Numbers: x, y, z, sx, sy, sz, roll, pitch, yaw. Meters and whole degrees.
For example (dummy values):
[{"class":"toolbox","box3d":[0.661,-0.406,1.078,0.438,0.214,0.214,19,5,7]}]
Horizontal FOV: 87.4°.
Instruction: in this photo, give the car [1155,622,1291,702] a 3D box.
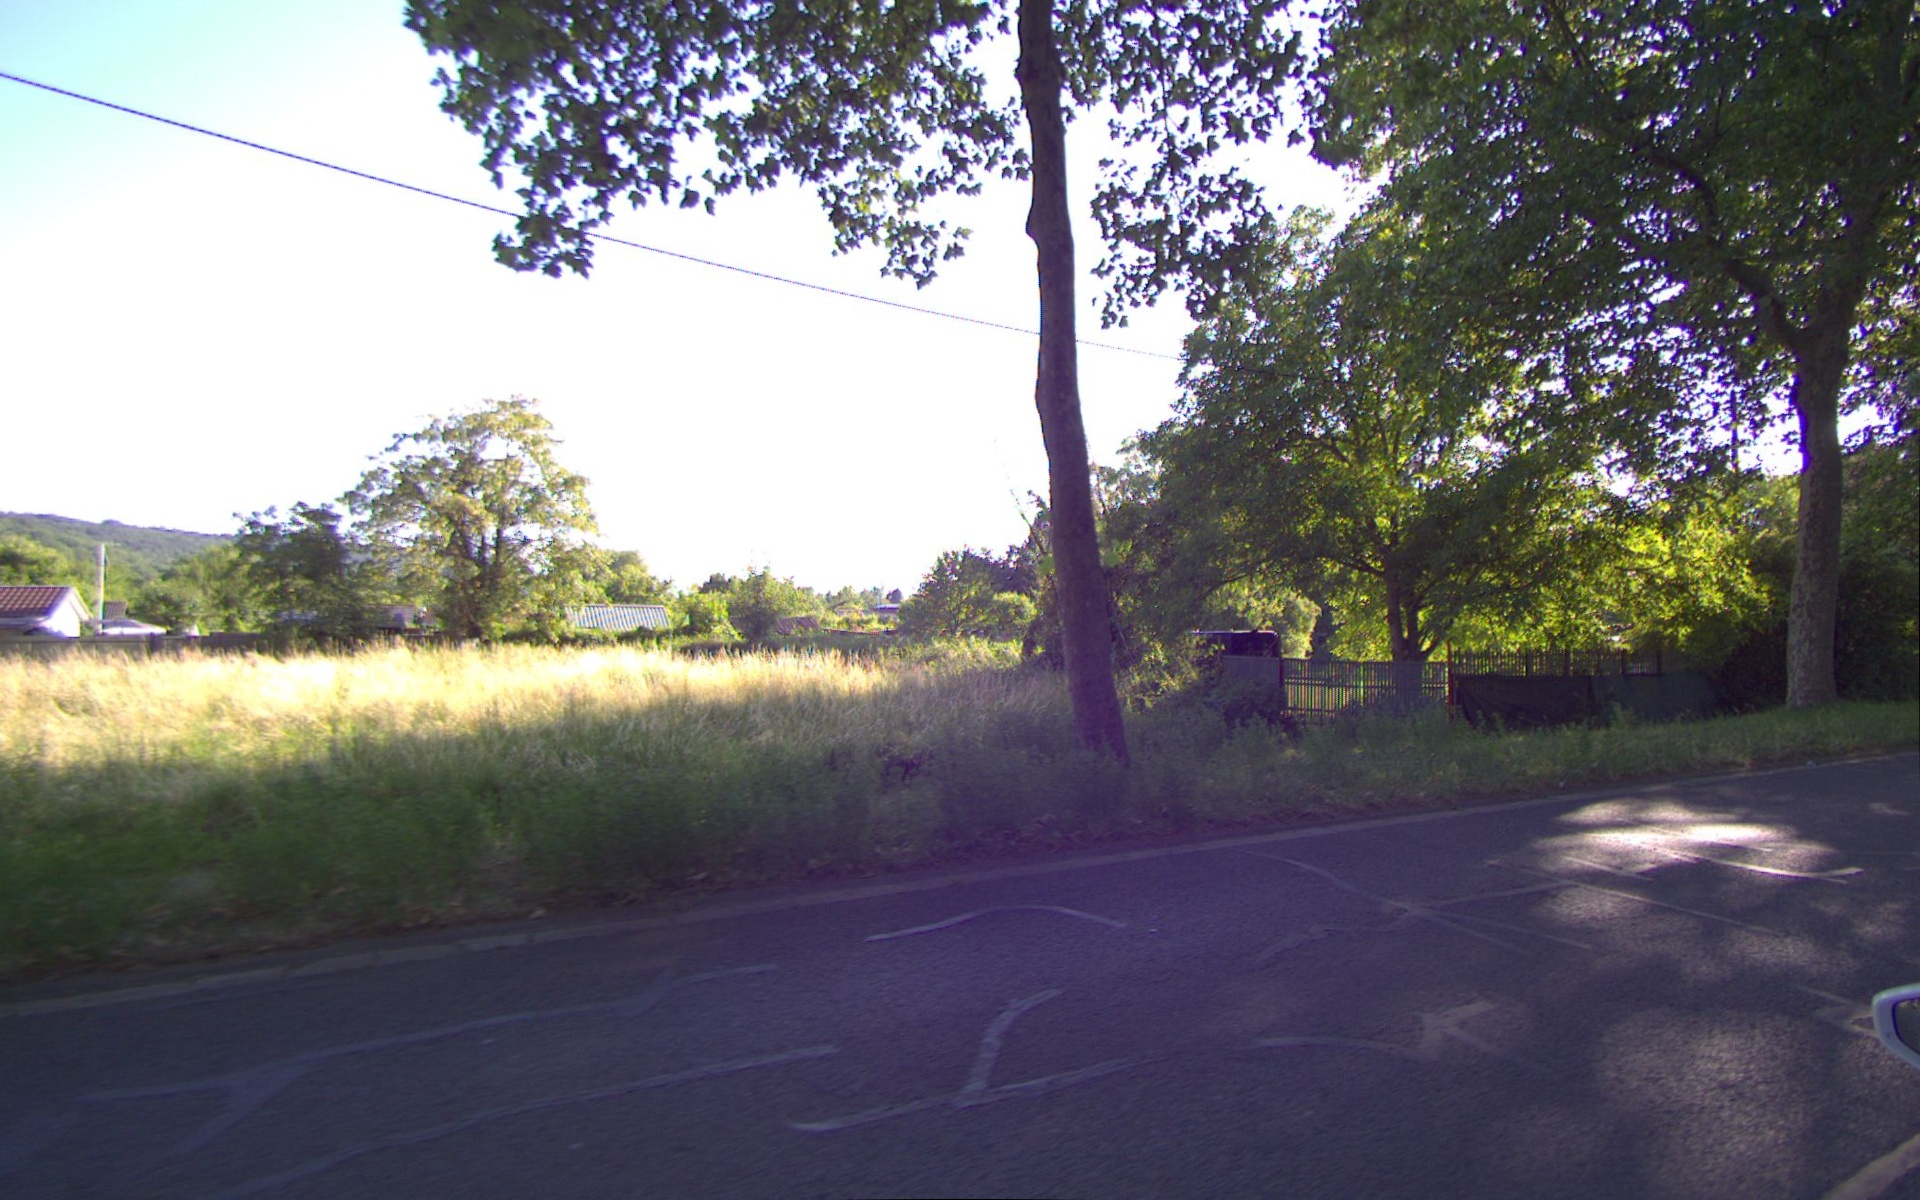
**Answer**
[{"class":"car","box3d":[7.642,1.769,29.634,1.969,2.040,3.982,2,0,-19]}]
